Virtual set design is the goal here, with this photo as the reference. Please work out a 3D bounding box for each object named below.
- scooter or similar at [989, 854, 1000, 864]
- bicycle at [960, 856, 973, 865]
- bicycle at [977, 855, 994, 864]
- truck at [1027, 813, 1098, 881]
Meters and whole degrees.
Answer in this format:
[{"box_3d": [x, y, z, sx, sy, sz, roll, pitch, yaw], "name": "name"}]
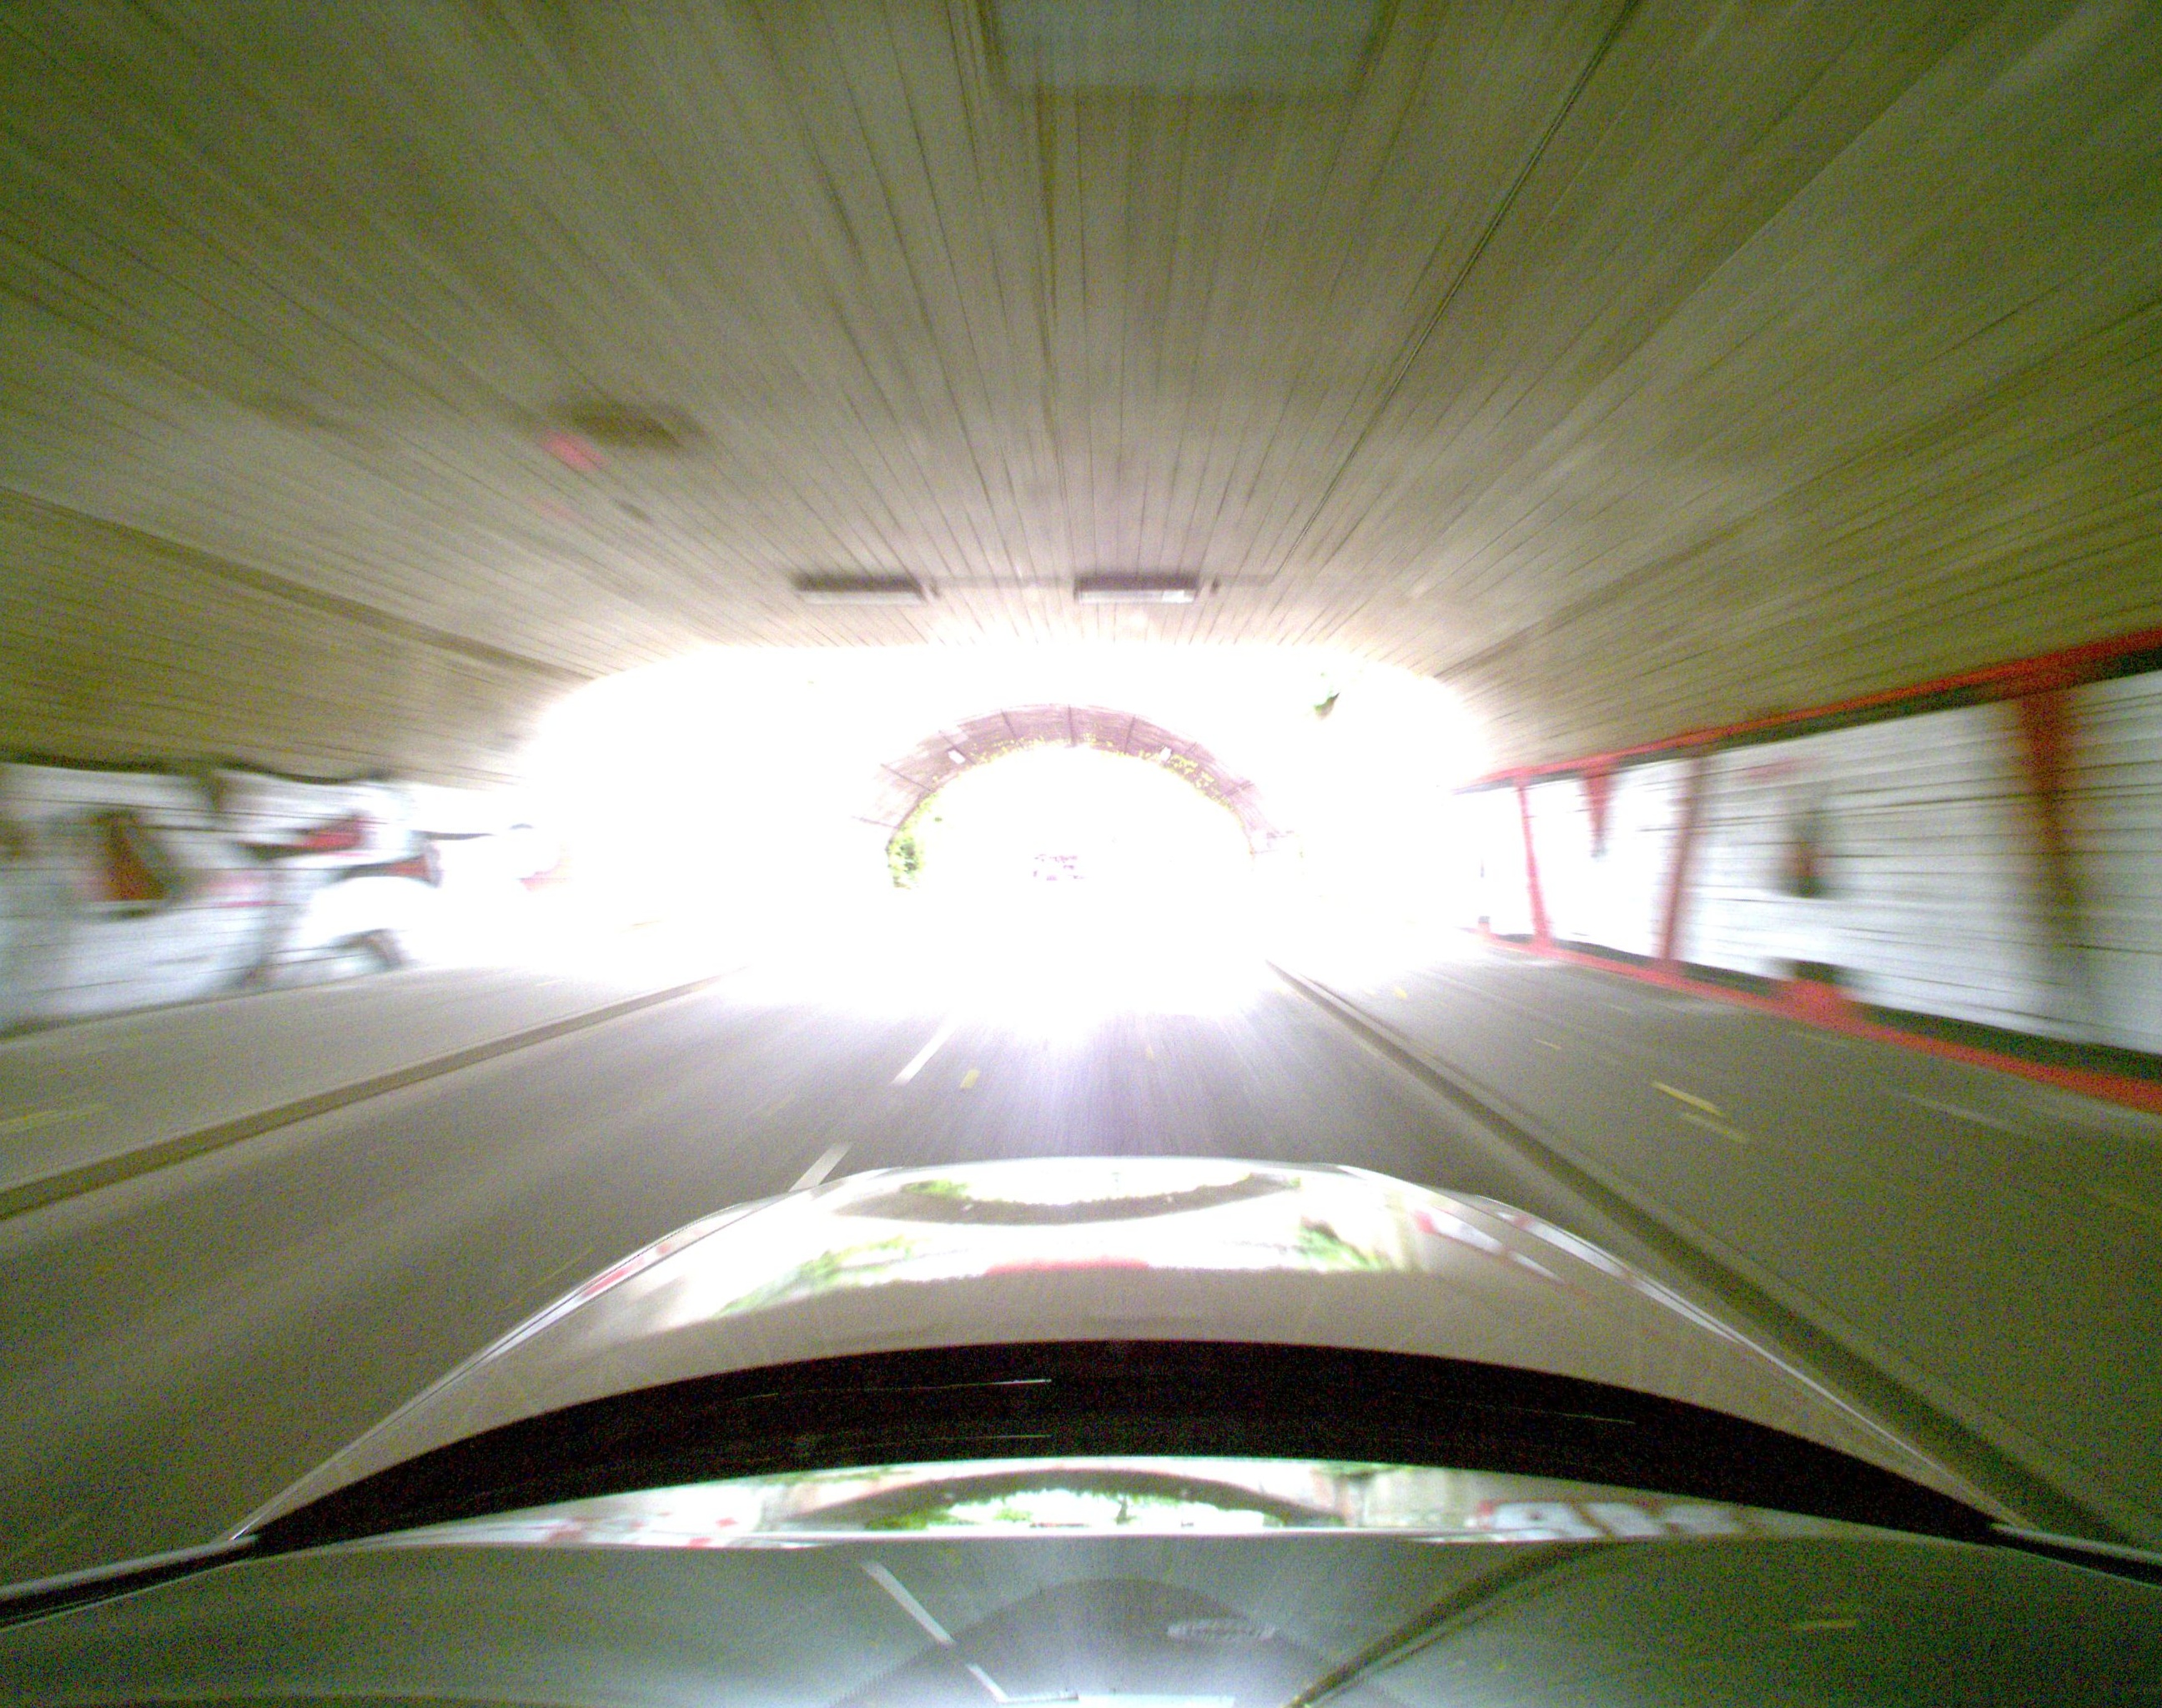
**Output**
[{"box_3d": [-10.362, 0.585, 97.841, 1.196, 1.206, 0.463, 4, -3, -35], "name": "scooter or similar"}, {"box_3d": [-13.907, 0.821, 98.846, 1.492, 0.989, 0.690, 3, -1, -20], "name": "bicycle"}, {"box_3d": [-11.553, 0.665, 98.612, 1.981, 0.865, 0.505, 6, -3, -38], "name": "bicycle"}, {"box_3d": [-1.202, -0.454, 46.015, 2.765, 3.483, 8.101, -1, 1, -10], "name": "truck"}]
